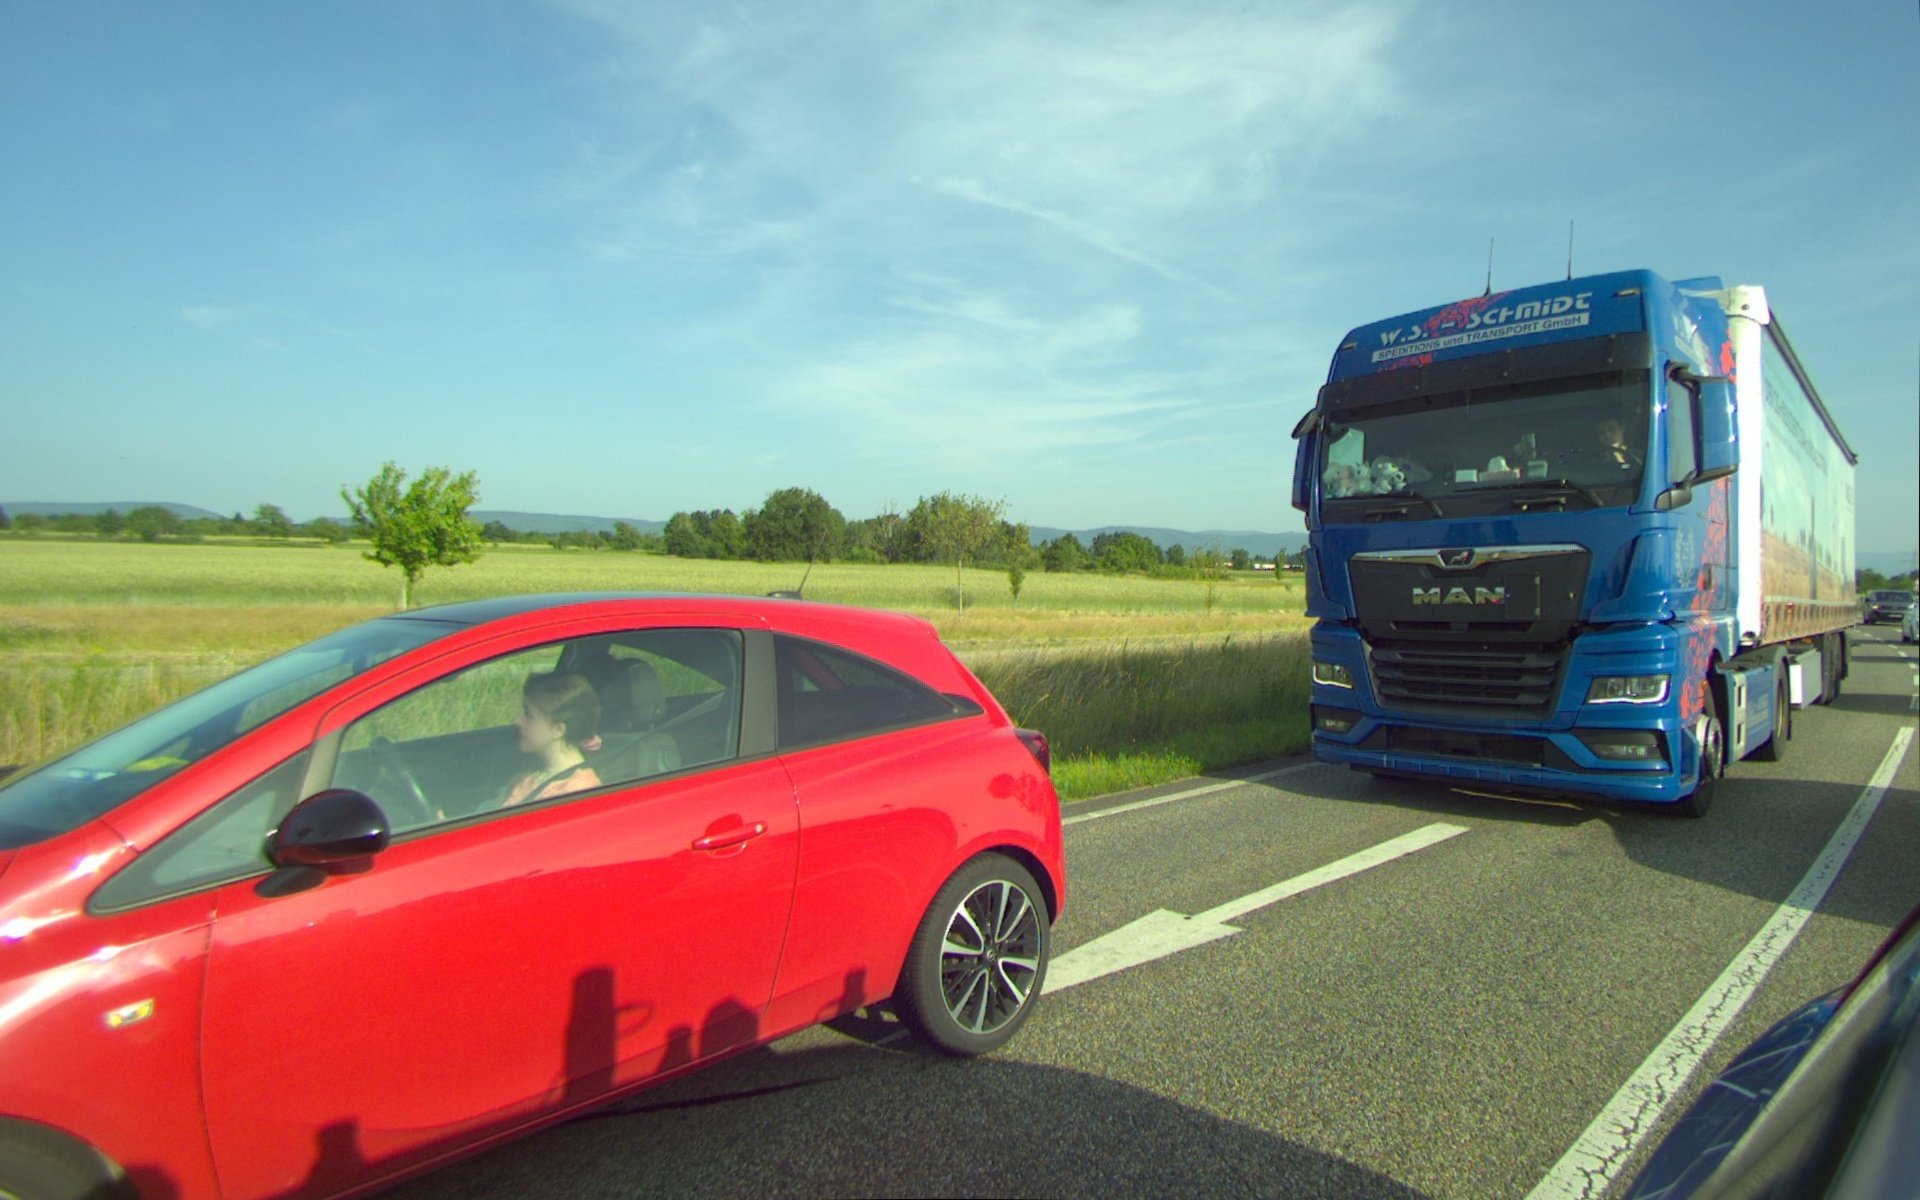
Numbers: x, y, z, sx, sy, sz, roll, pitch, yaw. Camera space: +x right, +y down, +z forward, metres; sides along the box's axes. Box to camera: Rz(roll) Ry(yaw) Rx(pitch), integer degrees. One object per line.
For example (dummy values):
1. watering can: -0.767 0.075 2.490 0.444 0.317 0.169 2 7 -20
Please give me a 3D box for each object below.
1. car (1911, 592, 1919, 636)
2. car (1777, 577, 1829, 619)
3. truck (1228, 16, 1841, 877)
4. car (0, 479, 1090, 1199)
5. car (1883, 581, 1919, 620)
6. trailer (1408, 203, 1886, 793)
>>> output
1. car: 32.938 0.468 33.728 1.551 1.417 3.977 2 2 40
2. car: 43.411 -0.113 52.122 1.991 2.039 3.942 1 1 40
3. truck: 5.220 -0.886 8.741 3.301 4.716 5.640 0 1 44
4. car: -1.455 0.565 2.868 3.689 1.568 1.698 0 2 -44
5. car: 50.267 0.006 53.785 1.551 1.944 3.977 2 1 40
6. trailer: 10.285 -0.946 13.946 3.282 4.739 12.939 0 1 44
